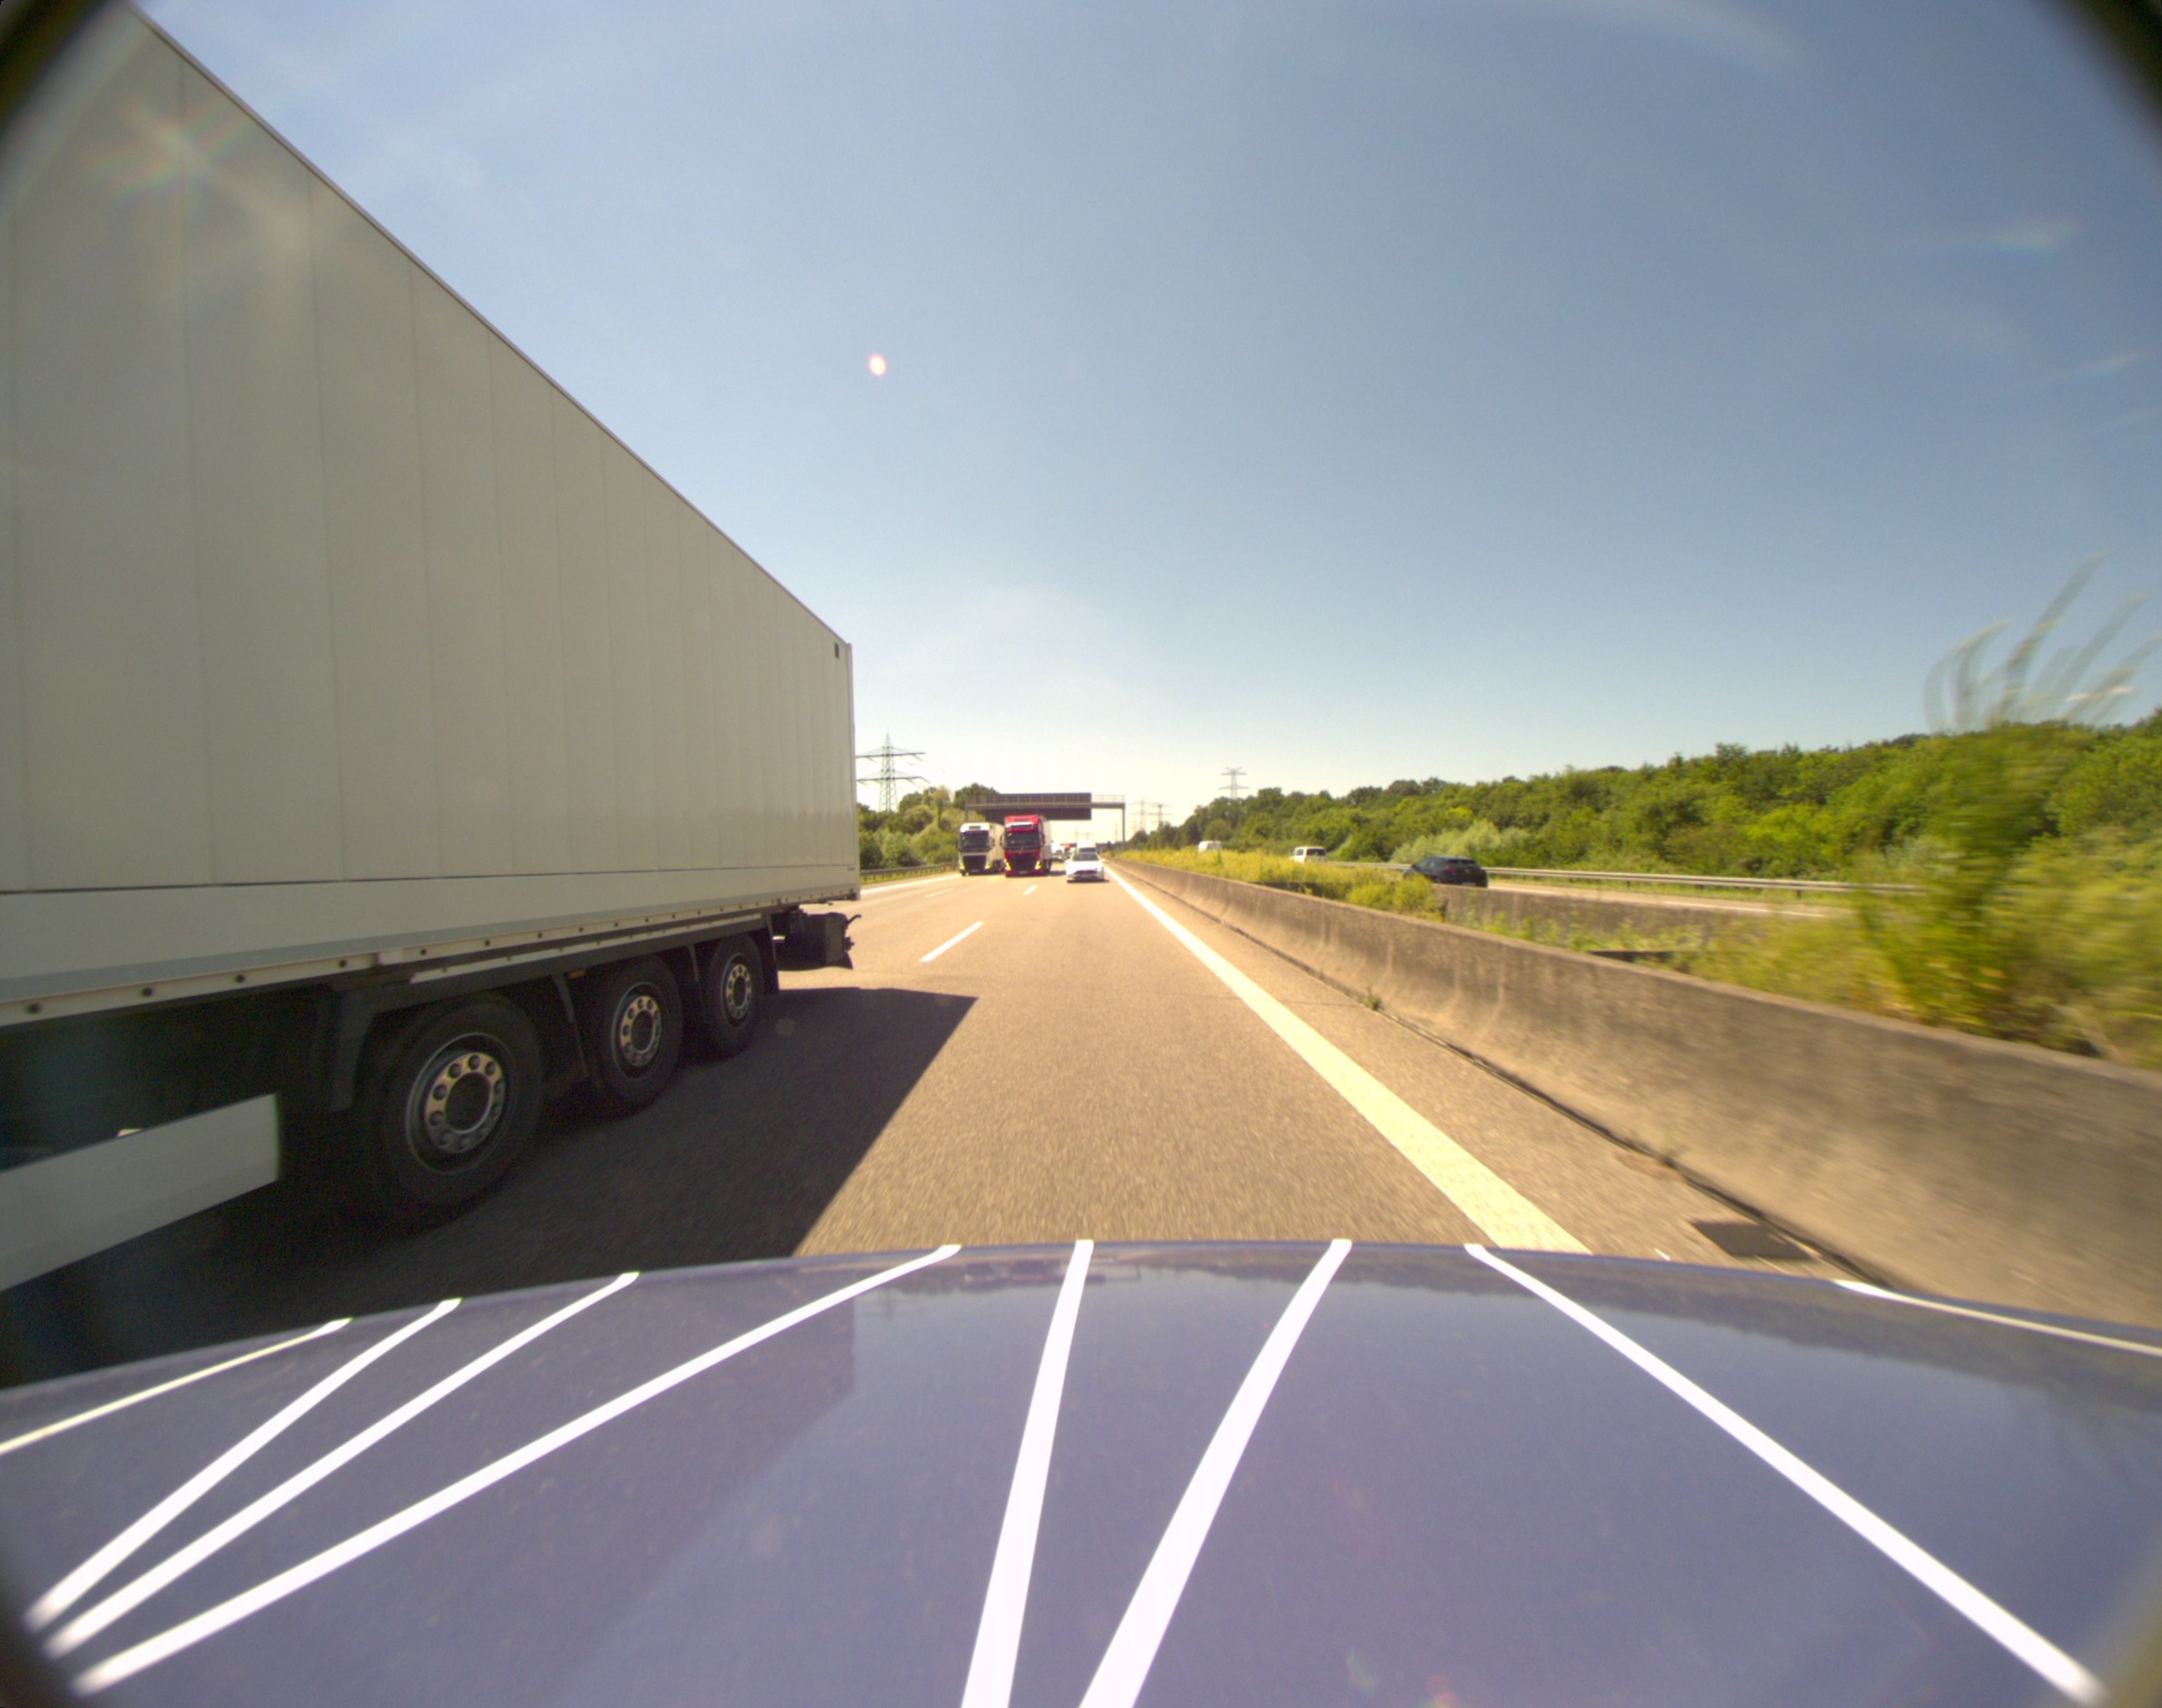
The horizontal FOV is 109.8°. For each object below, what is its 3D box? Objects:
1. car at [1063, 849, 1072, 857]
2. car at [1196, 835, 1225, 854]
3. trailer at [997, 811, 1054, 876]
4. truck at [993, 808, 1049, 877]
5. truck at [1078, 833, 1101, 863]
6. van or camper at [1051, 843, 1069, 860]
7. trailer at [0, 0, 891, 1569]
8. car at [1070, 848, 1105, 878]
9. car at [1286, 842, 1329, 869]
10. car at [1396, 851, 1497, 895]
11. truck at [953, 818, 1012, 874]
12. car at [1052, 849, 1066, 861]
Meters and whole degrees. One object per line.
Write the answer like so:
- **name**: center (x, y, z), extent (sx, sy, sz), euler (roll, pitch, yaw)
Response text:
- **car**: center (-2.929, -0.165, 163.486), extent (1.904, 1.662, 3.999), euler (-2, 0, 0)
- **car**: center (14.462, -1.027, 85.112), extent (1.998, 2.002, 6.556), euler (-3, 0, 1)
- **trailer**: center (-3.810, -0.762, 56.275), extent (2.945, 3.994, 16.197), euler (-2, 1, 0)
- **truck**: center (-3.682, -0.707, 48.009), extent (2.948, 3.963, 6.100), euler (-2, 1, 0)
- **truck**: center (0.827, -0.557, 76.868), extent (2.192, 2.841, 5.503), euler (-2, 0, 0)
- **van or camper**: center (-3.001, -0.363, 111.839), extent (2.411, 2.483, 6.431), euler (-1, 0, 0)
- **trailer**: center (-3.952, -0.326, 3.555), extent (2.802, 4.012, 12.566), euler (-2, 0, 0)
- **car**: center (0.329, 0.453, 41.615), extent (1.788, 1.462, 3.999), euler (-1, 1, 0)
- **car**: center (17.918, 0.099, 60.227), extent (1.886, 2.002, 5.075), euler (-2, 0, 0)
- **car**: center (13.443, 0.650, 28.243), extent (1.673, 1.455, 4.258), euler (2, 1, 1)
- **truck**: center (-7.794, -0.626, 61.856), extent (3.033, 4.069, 10.976), euler (-2, 1, 1)
- **car**: center (-3.034, 0.129, 106.571), extent (1.788, 1.520, 4.104), euler (-1, 0, 0)
